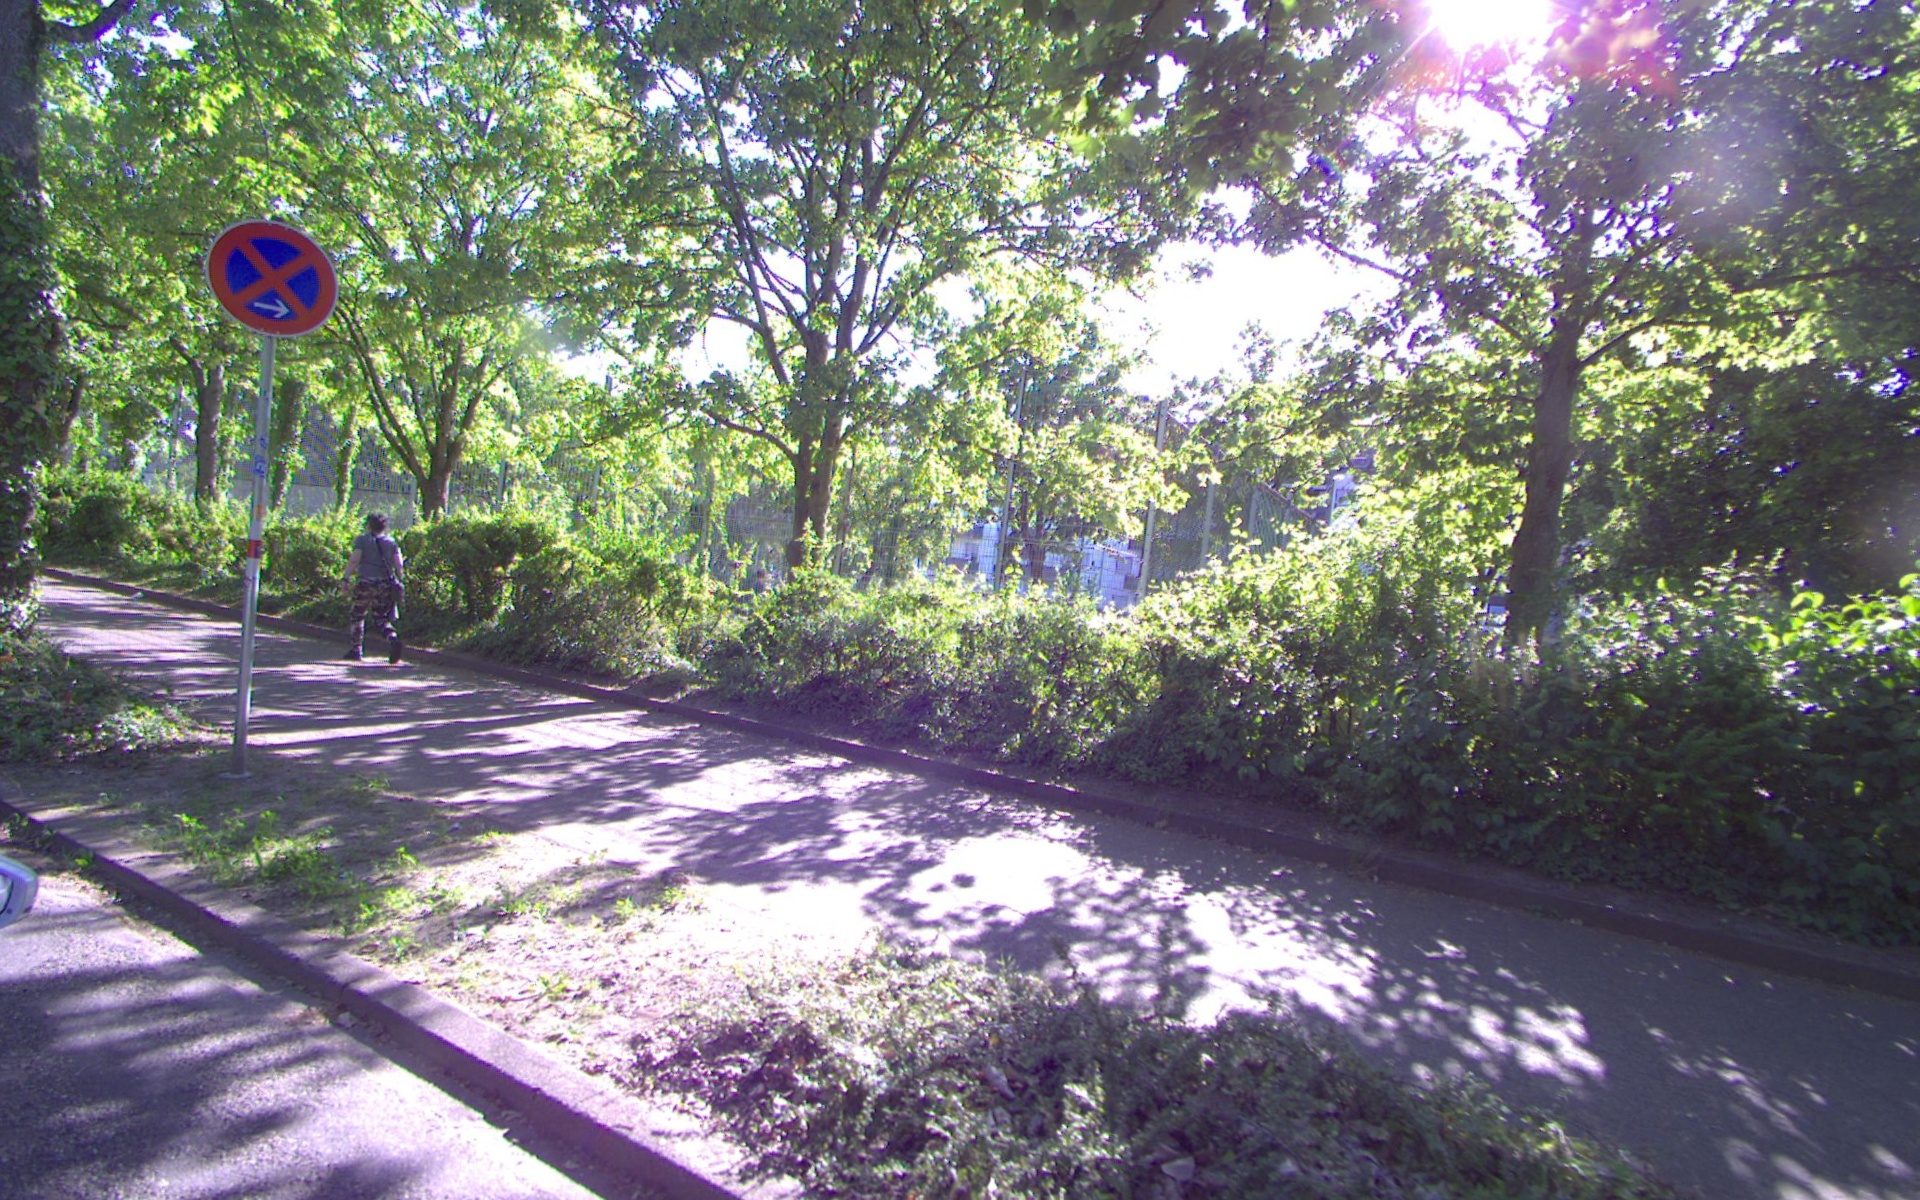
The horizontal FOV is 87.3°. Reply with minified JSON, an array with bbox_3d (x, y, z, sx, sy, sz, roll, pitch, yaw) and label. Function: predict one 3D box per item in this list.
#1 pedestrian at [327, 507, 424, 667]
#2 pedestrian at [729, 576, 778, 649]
[{"bbox_3d":[-6.303,-0.138,10.849,0.661,1.628,0.571,7,1,40],"label":"pedestrian"},{"bbox_3d":[-3.783,0.230,18.419,0.558,1.254,0.539,8,-1,-39],"label":"pedestrian"}]
